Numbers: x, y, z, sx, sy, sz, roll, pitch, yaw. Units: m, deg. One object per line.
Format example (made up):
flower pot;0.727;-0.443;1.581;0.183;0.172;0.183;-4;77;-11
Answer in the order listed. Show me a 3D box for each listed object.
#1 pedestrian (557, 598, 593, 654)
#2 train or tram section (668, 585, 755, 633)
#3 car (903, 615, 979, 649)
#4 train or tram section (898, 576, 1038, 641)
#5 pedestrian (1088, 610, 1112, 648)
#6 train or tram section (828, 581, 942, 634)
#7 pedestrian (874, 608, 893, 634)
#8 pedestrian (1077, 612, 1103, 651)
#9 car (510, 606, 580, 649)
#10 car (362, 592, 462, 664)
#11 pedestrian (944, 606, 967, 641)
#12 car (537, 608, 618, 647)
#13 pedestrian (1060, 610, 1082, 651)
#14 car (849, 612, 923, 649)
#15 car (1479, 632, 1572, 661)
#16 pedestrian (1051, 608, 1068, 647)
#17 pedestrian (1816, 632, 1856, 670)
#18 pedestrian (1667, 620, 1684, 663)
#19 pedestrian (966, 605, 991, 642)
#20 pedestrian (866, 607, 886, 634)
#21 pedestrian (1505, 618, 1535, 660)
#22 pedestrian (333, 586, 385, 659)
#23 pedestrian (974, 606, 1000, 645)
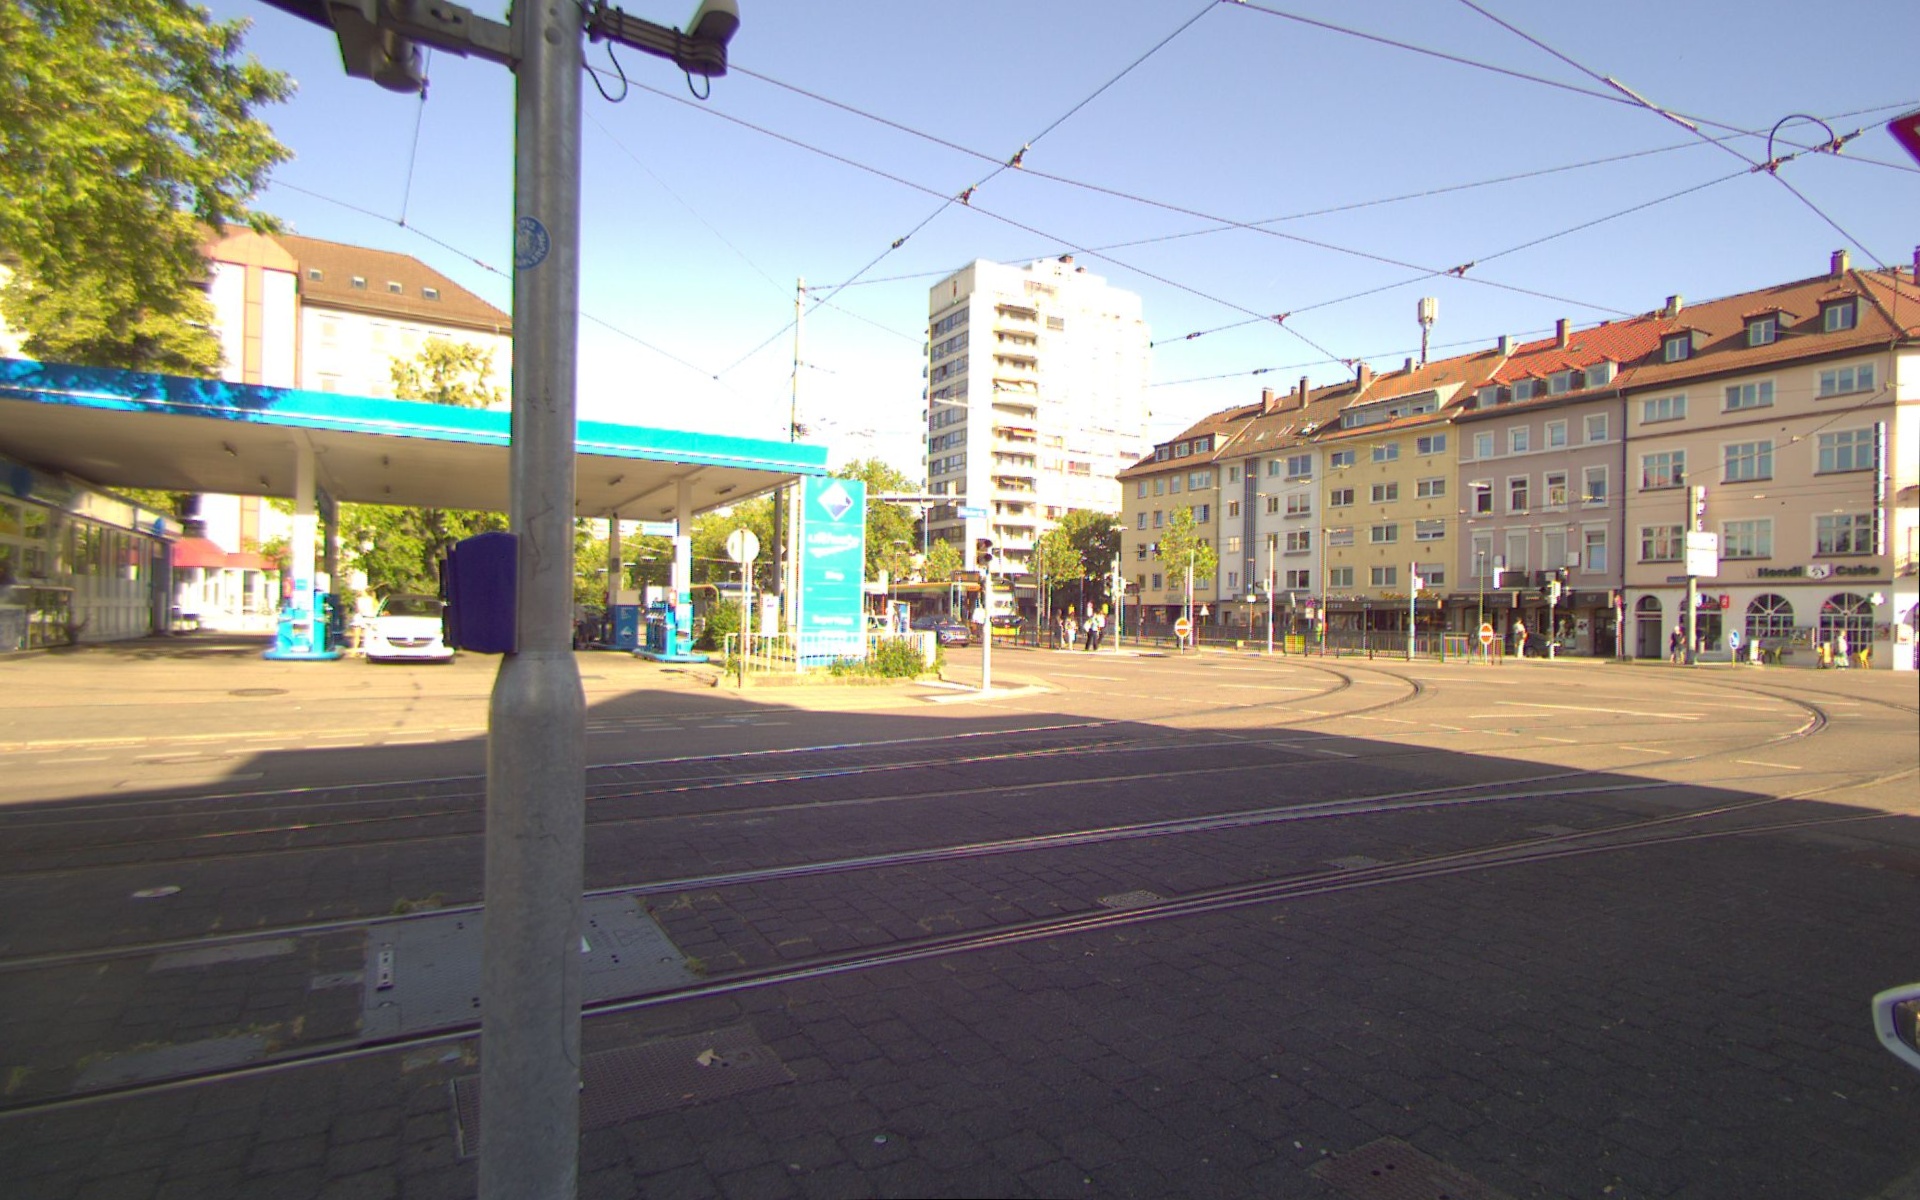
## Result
pedestrian;-12.953;0.873;33.835;0.895;1.826;0.894;1;-1;-7
train or tram section;-15.029;0.459;60.042;2.233;2.627;10.398;2;0;-30
car;-0.957;1.497;48.351;1.937;1.475;4.077;1;0;-30
train or tram section;0.232;0.524;58.966;3.252;3.459;10.157;1;-1;-33
pedestrian;6.376;1.306;45.737;0.773;1.721;0.692;1;-1;-33
train or tram section;-5.249;0.528;67.585;3.252;3.335;10.157;1;-1;-33
pedestrian;-4.823;1.326;63.151;0.902;1.646;0.887;1;-1;-33
pedestrian;5.437;1.315;42.031;0.791;1.646;0.706;1;-1;-33
car;-13.500;0.868;32.580;1.752;1.332;3.520;1;-1;-28
car;-12.270;0.609;22.436;1.773;1.461;3.968;2;-1;-30
pedestrian;-0.245;1.253;52.996;0.902;1.826;0.887;1;-1;-33
car;-17.202;1.218;45.385;1.960;1.685;4.001;1;-1;2
pedestrian;4.717;1.279;42.741;0.549;1.721;0.740;1;-1;-33
car;-3.505;1.398;46.809;1.976;1.615;3.970;1;-1;-29
car;30.777;2.499;54.717;1.980;1.483;3.962;1;-1;-34
pedestrian;4.415;1.230;44.526;0.491;1.721;0.553;1;-1;-33
pedestrian;38.615;2.225;44.287;1.029;1.612;1.061;1;-1;-28
pedestrian;34.212;1.985;48.023;0.498;2.040;0.507;1;-1;-27
pedestrian;0.911;1.188;50.646;0.902;1.826;0.887;1;-1;-33
pedestrian;-5.220;1.269;62.239;0.902;1.646;0.887;1;-1;-33
pedestrian;24.497;1.697;43.958;0.801;1.842;0.871;1;-1;-29
pedestrian;-13.900;0.507;23.238;0.636;1.652;0.811;0;-1;33
pedestrian;1.291;1.232;48.473;0.902;1.826;0.887;1;-1;-33
